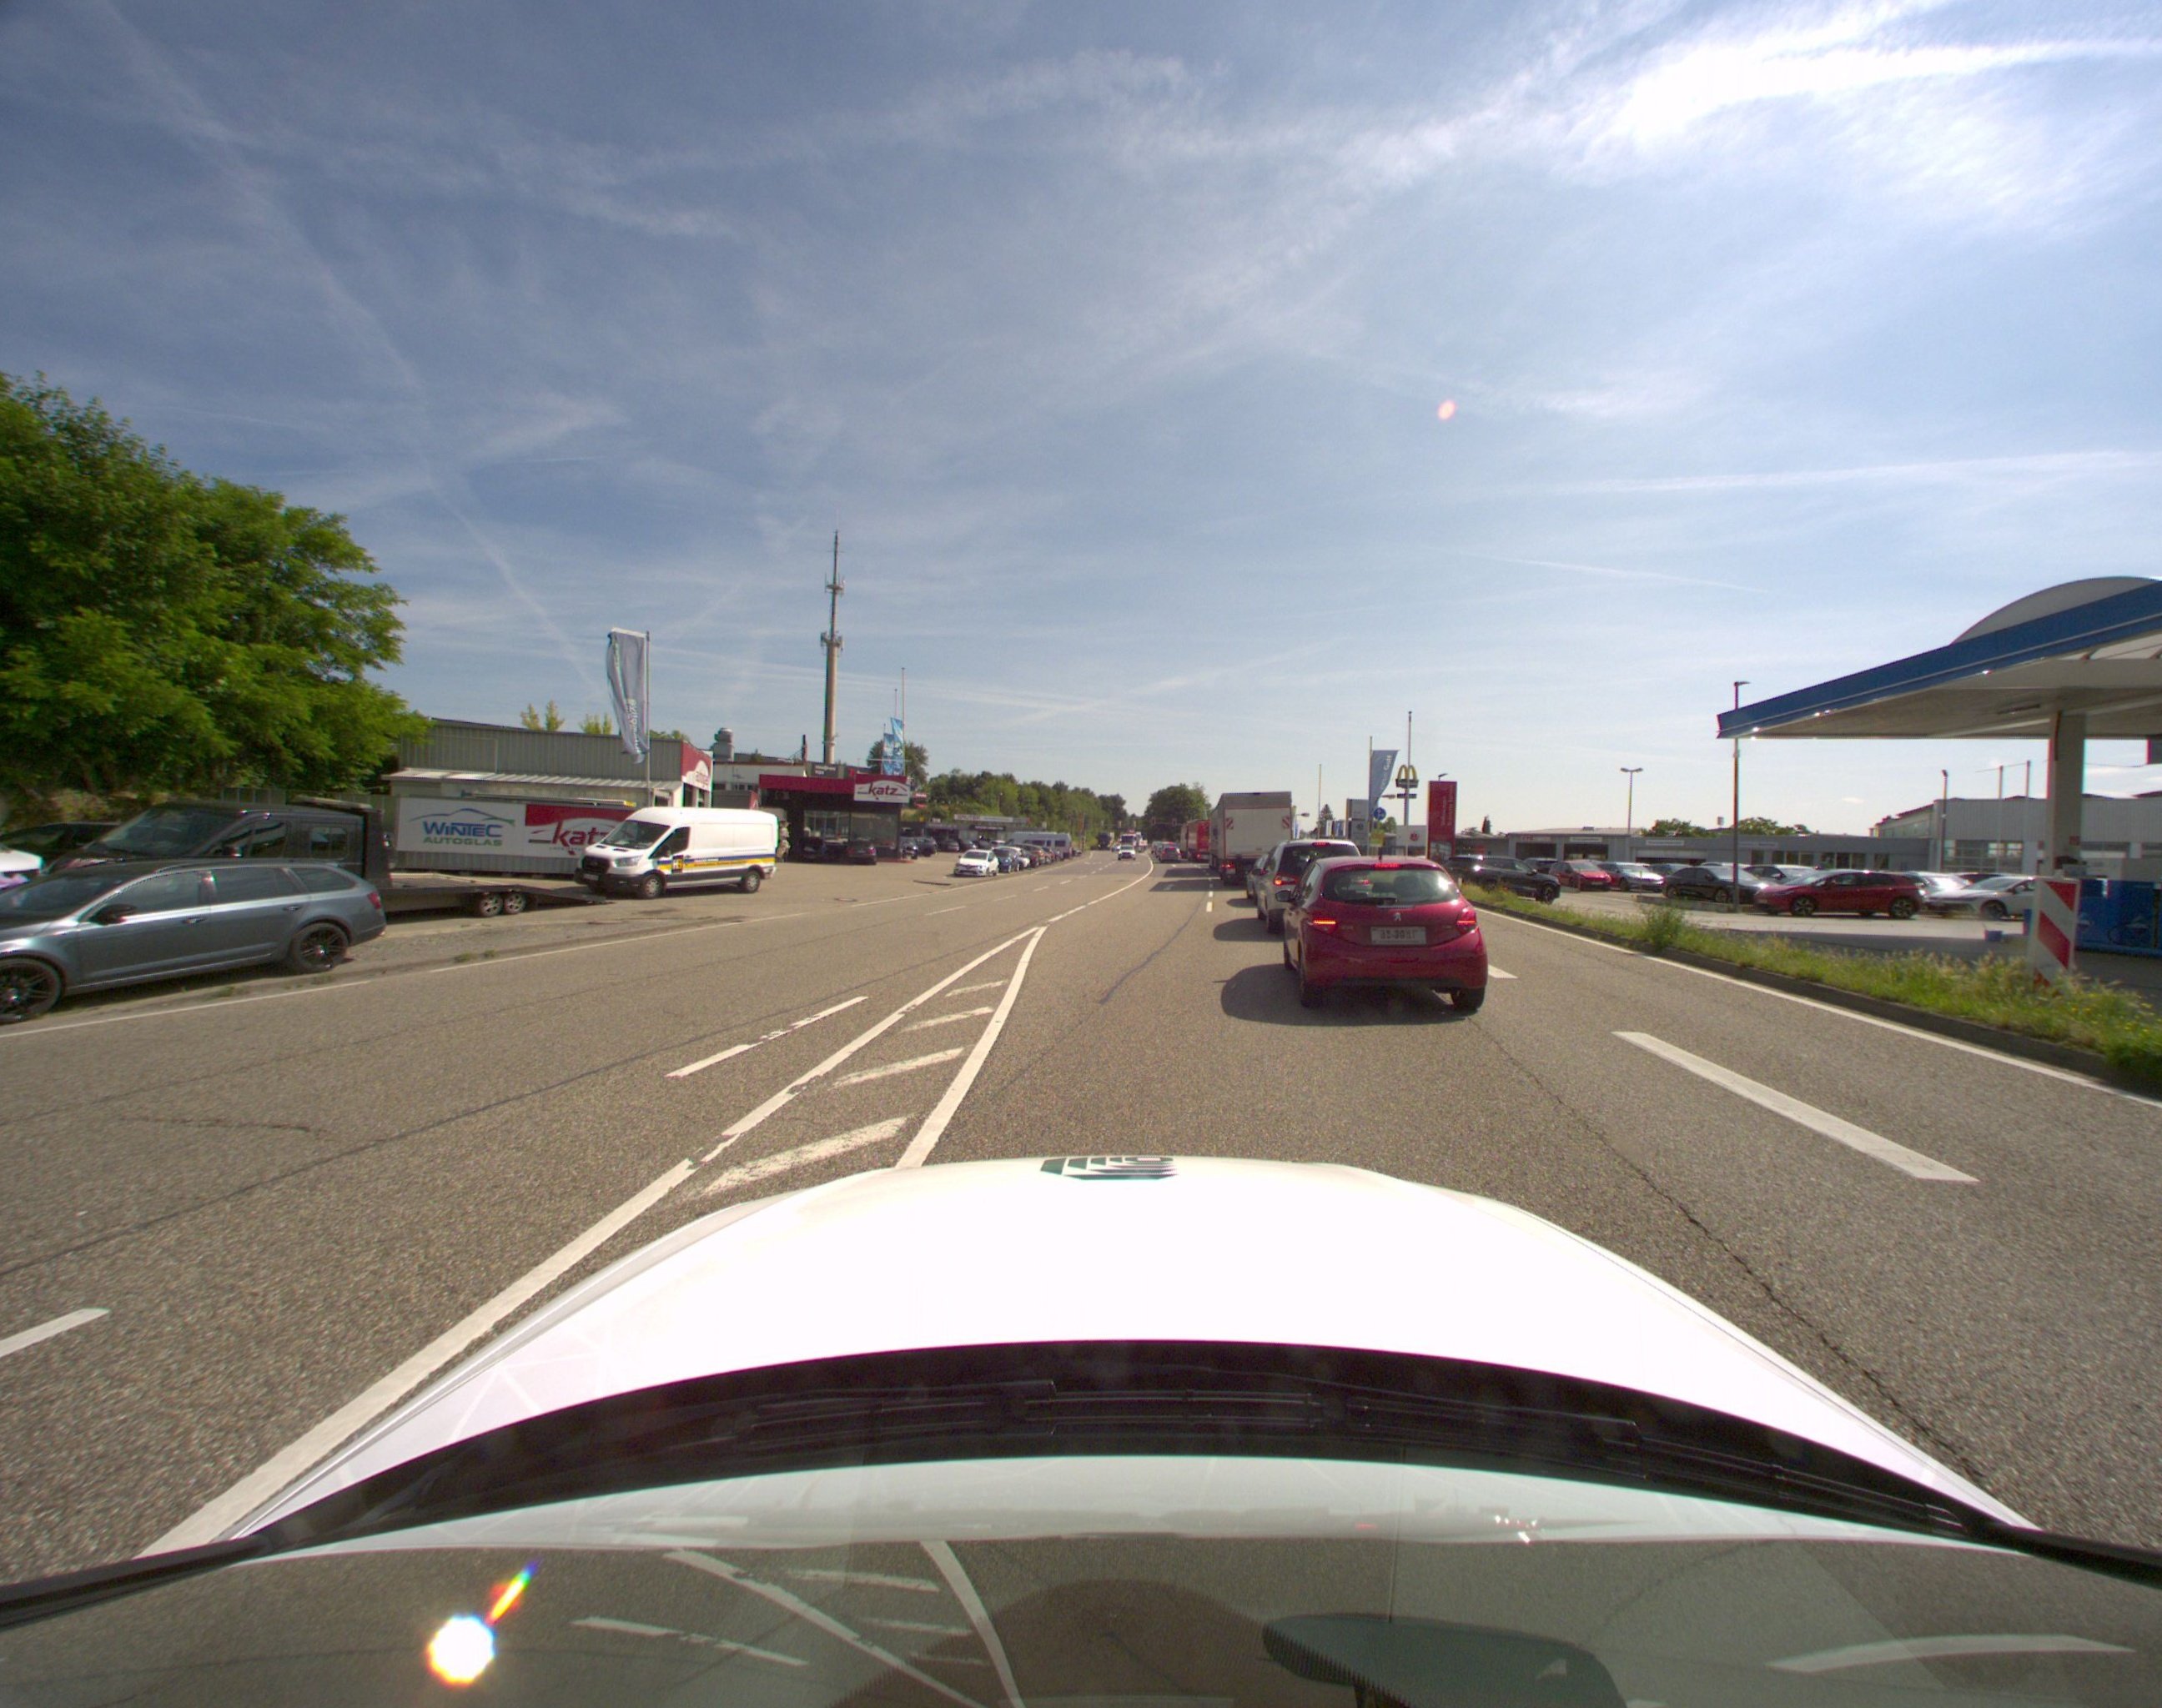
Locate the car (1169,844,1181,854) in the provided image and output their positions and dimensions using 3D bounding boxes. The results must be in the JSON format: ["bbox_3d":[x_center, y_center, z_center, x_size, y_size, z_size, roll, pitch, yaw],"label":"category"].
[{"bbox_3d":[14.618,-0.809,126.578,1.719,1.519,3.316,2,0,4],"label":"car"}]

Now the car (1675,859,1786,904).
[{"bbox_3d":[24.910,1.005,31.409,1.605,1.594,3.869,-1,0,8],"label":"car"}]

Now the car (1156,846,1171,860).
[{"bbox_3d":[9.759,-0.127,96.669,1.719,1.519,3.316,1,0,4],"label":"car"}]

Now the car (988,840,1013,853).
[{"bbox_3d":[-9.712,-0.931,97.950,1.774,1.588,3.794,0,1,-28],"label":"car"}]

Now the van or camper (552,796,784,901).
[{"bbox_3d":[-11.552,-0.158,23.453,2.137,2.498,5.980,5,2,20],"label":"van or camper"}]

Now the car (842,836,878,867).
[{"bbox_3d":[-12.977,-0.159,47.711,1.858,1.504,4.372,3,2,-17],"label":"car"}]

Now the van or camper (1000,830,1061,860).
[{"bbox_3d":[-5.128,-0.912,82.905,5.864,2.873,2.293,1,1,4],"label":"van or camper"}]

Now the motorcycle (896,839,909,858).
[{"bbox_3d":[-12.424,-0.386,56.593,0.771,1.261,2.044,0,0,-15],"label":"motorcycle"}]

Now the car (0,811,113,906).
[{"bbox_3d":[-18.498,0.024,12.955,3.662,1.469,1.733,1,0,-12],"label":"car"}]

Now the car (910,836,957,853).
[{"bbox_3d":[-13.038,-0.824,72.014,3.949,1.532,1.758,0,1,-19],"label":"car"}]

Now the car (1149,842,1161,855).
[{"bbox_3d":[11.659,-0.886,128.258,1.717,1.908,3.319,1,0,8],"label":"car"}]

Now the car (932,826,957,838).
[{"bbox_3d":[-17.803,-2.826,106.332,1.744,1.450,3.708,1,0,-36],"label":"car"}]

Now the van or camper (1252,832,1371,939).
[{"bbox_3d":[4.444,0.512,16.406,1.736,1.787,5.147,1,0,9],"label":"van or camper"}]

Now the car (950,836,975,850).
[{"bbox_3d":[-13.909,-1.321,95.455,1.774,1.588,3.794,0,1,-28],"label":"car"}]

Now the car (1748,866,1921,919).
[{"bbox_3d":[25.091,1.253,27.260,3.877,1.572,1.813,1,0,12],"label":"car"}]

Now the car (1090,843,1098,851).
[{"bbox_3d":[3.142,-1.736,201.668,1.987,2.013,3.999,1,0,0],"label":"car"}]

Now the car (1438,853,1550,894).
[{"bbox_3d":[15.123,0.691,29.860,3.591,1.409,1.555,-1,0,-16],"label":"car"}]

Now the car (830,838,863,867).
[{"bbox_3d":[-15.347,-0.117,53.192,1.704,1.759,3.737,4,0,-20],"label":"car"}]

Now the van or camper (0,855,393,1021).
[{"bbox_3d":[-10.902,0.809,9.385,1.629,1.524,4.480,2,0,10],"label":"van or camper"}]

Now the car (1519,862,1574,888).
[{"bbox_3d":[27.189,1.195,47.677,1.550,1.409,3.603,-1,0,8],"label":"car"}]

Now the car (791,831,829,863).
[{"bbox_3d":[-15.468,-0.408,46.502,1.858,1.504,3.977,5,2,-18],"label":"car"}]

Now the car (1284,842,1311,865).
[{"bbox_3d":[17.585,-0.024,66.323,1.980,1.750,4.014,1,0,13],"label":"car"}]

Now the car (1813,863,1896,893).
[{"bbox_3d":[39.034,1.195,41.218,1.546,1.409,3.705,-1,0,17],"label":"car"}]

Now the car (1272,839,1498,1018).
[{"bbox_3d":[3.141,0.657,9.156,1.789,1.572,3.725,-1,0,11],"label":"car"}]

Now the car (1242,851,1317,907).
[{"bbox_3d":[5.725,0.655,23.891,1.725,1.428,4.235,1,0,8],"label":"car"}]

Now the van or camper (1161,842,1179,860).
[{"bbox_3d":[9.578,-0.347,87.788,1.844,1.905,3.789,1,1,4],"label":"van or camper"}]

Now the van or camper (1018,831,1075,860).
[{"bbox_3d":[-3.376,-0.884,80.317,5.219,2.731,2.214,1,1,5],"label":"van or camper"}]

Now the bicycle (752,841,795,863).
[{"bbox_3d":[-16.229,-0.122,43.011,1.996,0.971,0.413,5,-1,-17],"label":"bicycle"}]

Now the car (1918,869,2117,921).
[{"bbox_3d":[30.370,1.317,26.518,4.304,1.494,1.567,1,0,8],"label":"car"}]

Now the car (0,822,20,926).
[{"bbox_3d":[-17.526,0.262,11.109,3.651,1.510,1.715,1,0,-3],"label":"car"}]

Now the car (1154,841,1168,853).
[{"bbox_3d":[10.439,-0.922,105.865,1.718,1.519,3.318,1,0,6],"label":"car"}]
